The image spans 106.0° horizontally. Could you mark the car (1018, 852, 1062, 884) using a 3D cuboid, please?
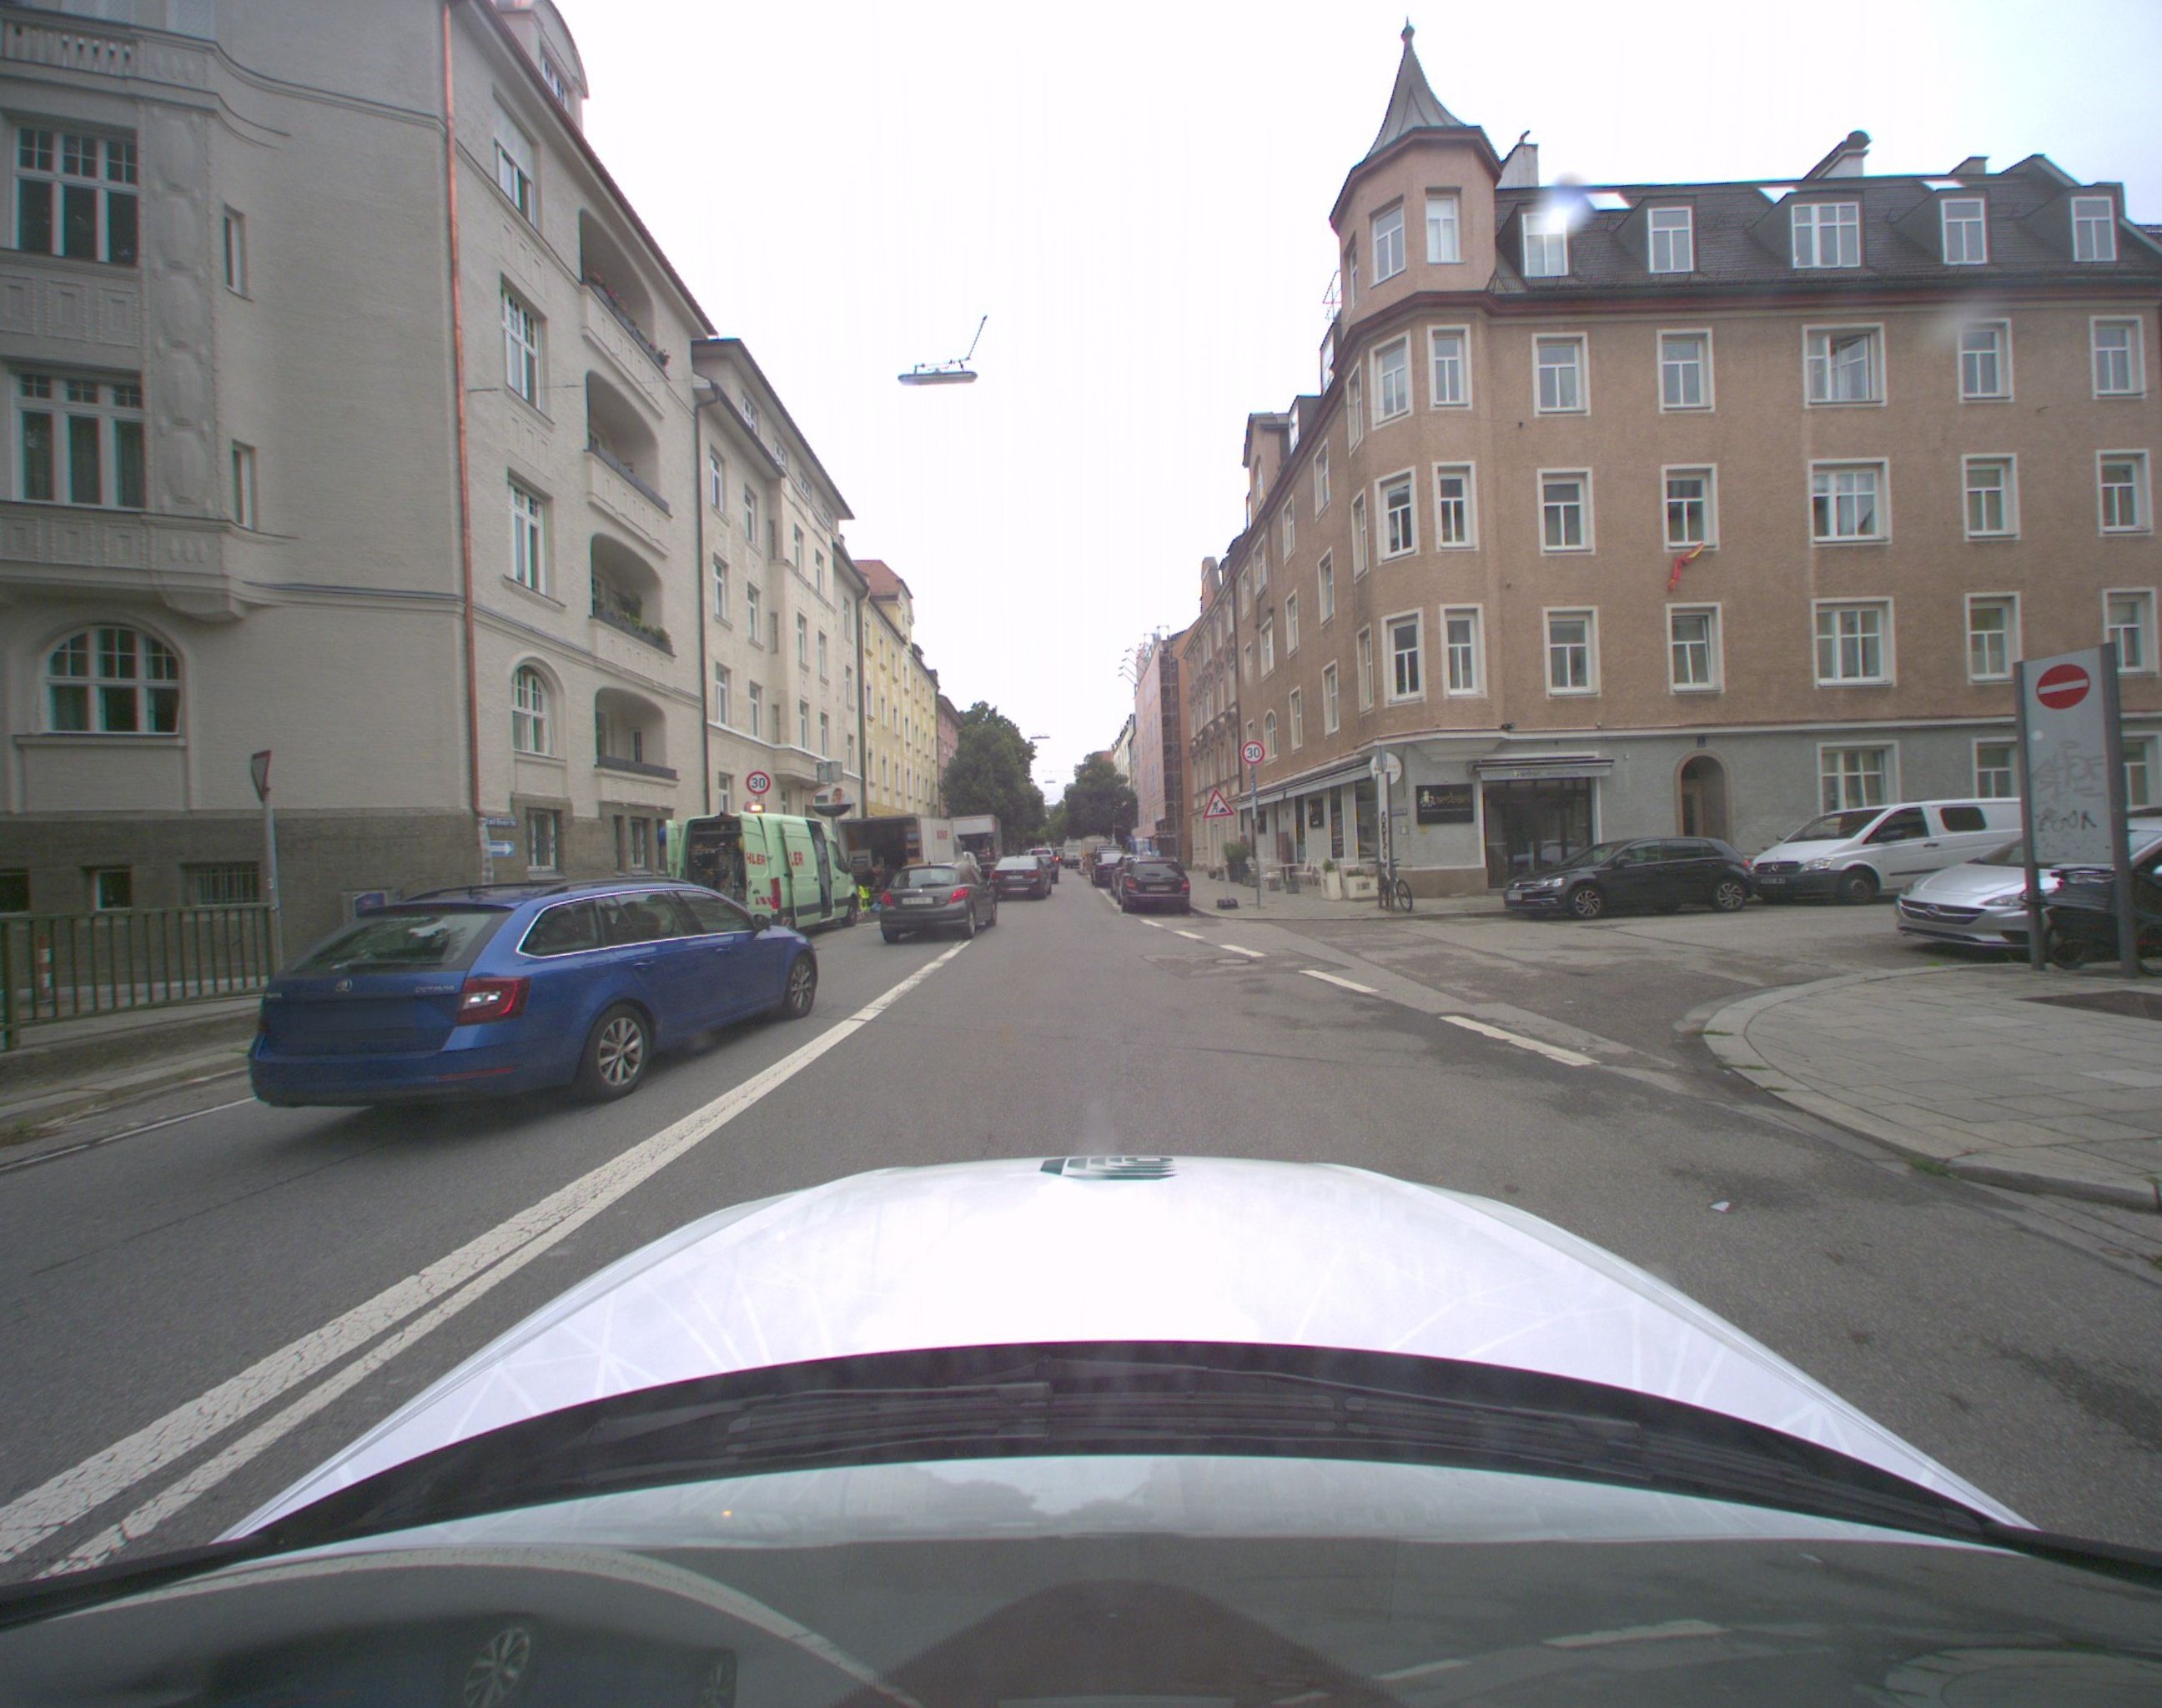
[{"bbox_3d":[-2.051,0.657,41.781,1.984,1.429,4.140,-2,1,0],"label":"car"}]

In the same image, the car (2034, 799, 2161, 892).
[{"bbox_3d":[21.934,-0.211,15.709,4.594,1.687,2.099,-2,-2,-1],"label":"car"}]

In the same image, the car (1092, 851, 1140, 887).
[{"bbox_3d":[1.524,0.622,36.608,1.839,1.429,4.304,1,1,-2],"label":"car"}]

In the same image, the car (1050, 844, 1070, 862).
[{"bbox_3d":[-2.307,-0.101,90.720,1.986,1.904,4.001,-1,0,1],"label":"car"}]

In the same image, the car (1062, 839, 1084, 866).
[{"bbox_3d":[-0.745,-0.149,77.597,1.933,2.480,4.783,-2,0,1],"label":"car"}]

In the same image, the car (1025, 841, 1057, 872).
[{"bbox_3d":[-2.779,0.139,57.112,1.984,2.075,4.140,-2,1,0],"label":"car"}]

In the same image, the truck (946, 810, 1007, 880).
[{"bbox_3d":[-6.395,-0.530,50.708,3.004,3.951,6.990,-2,0,-2],"label":"truck"}]

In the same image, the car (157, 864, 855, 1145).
[{"bbox_3d":[-3.809,0.856,6.745,1.976,1.454,4.744,-2,-1,7],"label":"car"}]

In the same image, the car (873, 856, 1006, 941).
[{"bbox_3d":[-2.738,0.809,16.733,1.751,1.461,4.078,-2,0,3],"label":"car"}]

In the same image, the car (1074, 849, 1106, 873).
[{"bbox_3d":[0.602,0.423,54.219,1.984,1.429,4.140,-2,1,0],"label":"car"}]

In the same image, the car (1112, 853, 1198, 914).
[{"bbox_3d":[1.920,0.741,22.287,1.839,1.429,4.181,1,1,-2],"label":"car"}]

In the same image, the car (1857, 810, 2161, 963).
[{"bbox_3d":[11.634,0.285,9.204,4.022,1.456,1.747,-2,2,1],"label":"car"}]

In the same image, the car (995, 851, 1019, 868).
[{"bbox_3d":[-7.030,0.513,77.877,1.934,1.448,3.864,-2,0,-1],"label":"car"}]

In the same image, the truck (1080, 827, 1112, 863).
[{"bbox_3d":[1.261,-0.763,70.623,2.484,2.973,5.325,-2,0,-1],"label":"truck"}]

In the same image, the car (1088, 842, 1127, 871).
[{"bbox_3d":[1.401,0.124,44.618,1.984,1.429,4.140,-2,1,0],"label":"car"}]

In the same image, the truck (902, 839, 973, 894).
[{"bbox_3d":[-6.172,0.506,35.704,2.280,2.171,4.804,-2,0,-1],"label":"truck"}]

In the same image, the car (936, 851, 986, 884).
[{"bbox_3d":[-6.316,0.670,43.159,1.984,1.610,4.140,-2,0,0],"label":"car"}]

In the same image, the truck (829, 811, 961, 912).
[{"bbox_3d":[-5.993,0.158,27.561,2.765,2.873,7.200,-2,1,-1],"label":"truck"}]

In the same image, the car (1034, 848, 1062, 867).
[{"bbox_3d":[-2.648,0.248,65.919,1.984,1.429,4.140,-2,1,0],"label":"car"}]

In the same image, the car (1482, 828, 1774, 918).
[{"bbox_3d":[10.115,0.367,15.317,4.157,1.429,1.924,-2,-2,-1],"label":"car"}]

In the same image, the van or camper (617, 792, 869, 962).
[{"bbox_3d":[-6.633,0.341,17.139,2.592,2.840,6.185,-2,1,0],"label":"van or camper"}]

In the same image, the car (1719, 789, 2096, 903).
[{"bbox_3d":[15.734,-0.114,15.740,5.112,1.854,2.099,-2,-2,-1],"label":"car"}]

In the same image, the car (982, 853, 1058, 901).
[{"bbox_3d":[-1.981,0.714,28.060,1.982,1.429,4.910,0,1,3],"label":"car"}]

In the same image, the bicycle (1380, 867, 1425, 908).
[{"bbox_3d":[6.827,0.699,17.362,0.455,0.805,1.327,-1,0,2],"label":"bicycle"}]

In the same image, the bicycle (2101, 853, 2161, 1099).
[{"bbox_3d":[5.539,0.599,3.228,0.512,1.208,1.996,-1,0,2],"label":"bicycle"}]

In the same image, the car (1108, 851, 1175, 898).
[{"bbox_3d":[1.996,0.638,27.945,1.839,1.429,4.138,1,1,-2],"label":"car"}]
